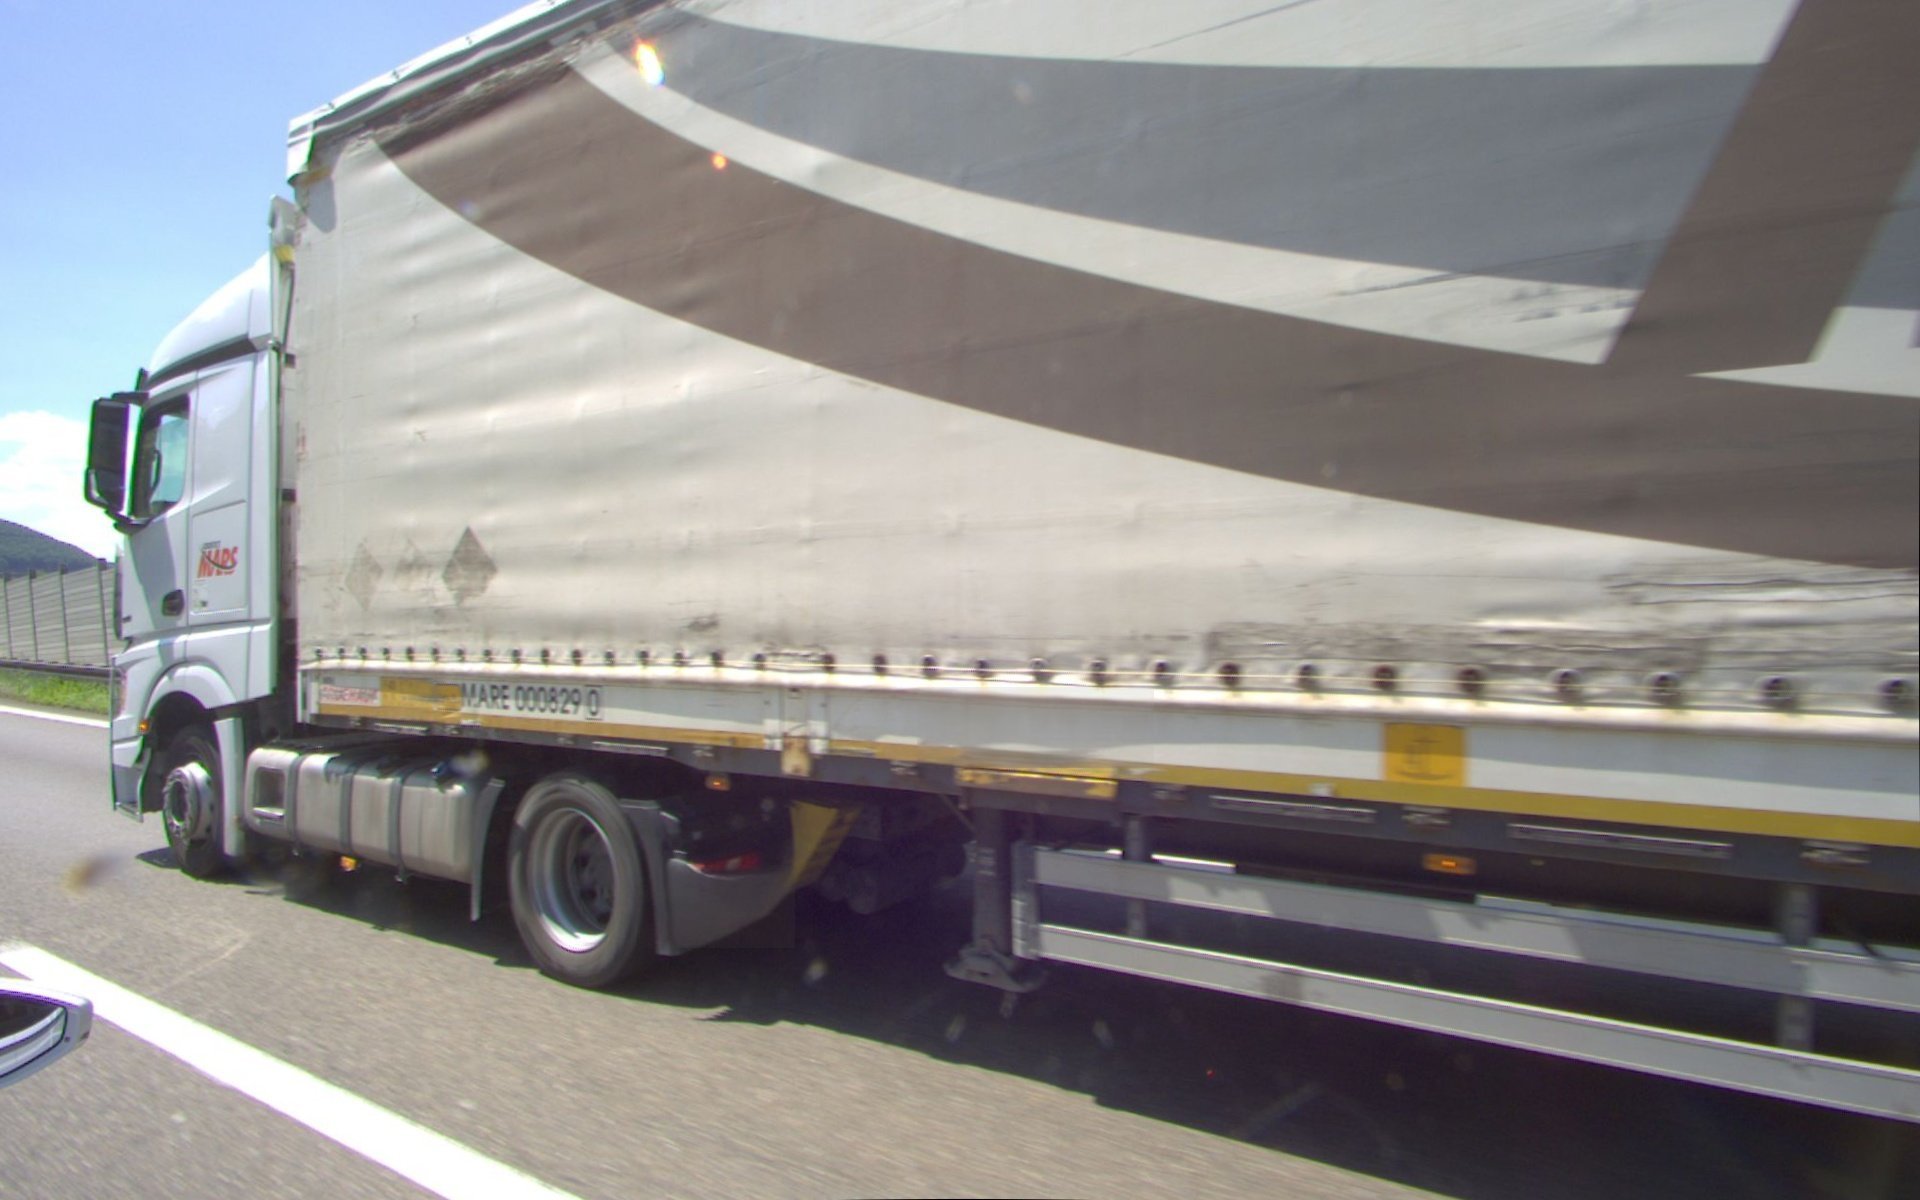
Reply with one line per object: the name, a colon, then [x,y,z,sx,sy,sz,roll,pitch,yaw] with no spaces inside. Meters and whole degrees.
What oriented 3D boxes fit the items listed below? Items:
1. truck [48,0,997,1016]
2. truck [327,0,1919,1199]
truck: [-2.905,-0.421,6.358,5.669,4.120,2.716,-1,-1,30]
truck: [3.431,-0.608,2.615,13.538,4.120,2.722,-2,-1,30]
